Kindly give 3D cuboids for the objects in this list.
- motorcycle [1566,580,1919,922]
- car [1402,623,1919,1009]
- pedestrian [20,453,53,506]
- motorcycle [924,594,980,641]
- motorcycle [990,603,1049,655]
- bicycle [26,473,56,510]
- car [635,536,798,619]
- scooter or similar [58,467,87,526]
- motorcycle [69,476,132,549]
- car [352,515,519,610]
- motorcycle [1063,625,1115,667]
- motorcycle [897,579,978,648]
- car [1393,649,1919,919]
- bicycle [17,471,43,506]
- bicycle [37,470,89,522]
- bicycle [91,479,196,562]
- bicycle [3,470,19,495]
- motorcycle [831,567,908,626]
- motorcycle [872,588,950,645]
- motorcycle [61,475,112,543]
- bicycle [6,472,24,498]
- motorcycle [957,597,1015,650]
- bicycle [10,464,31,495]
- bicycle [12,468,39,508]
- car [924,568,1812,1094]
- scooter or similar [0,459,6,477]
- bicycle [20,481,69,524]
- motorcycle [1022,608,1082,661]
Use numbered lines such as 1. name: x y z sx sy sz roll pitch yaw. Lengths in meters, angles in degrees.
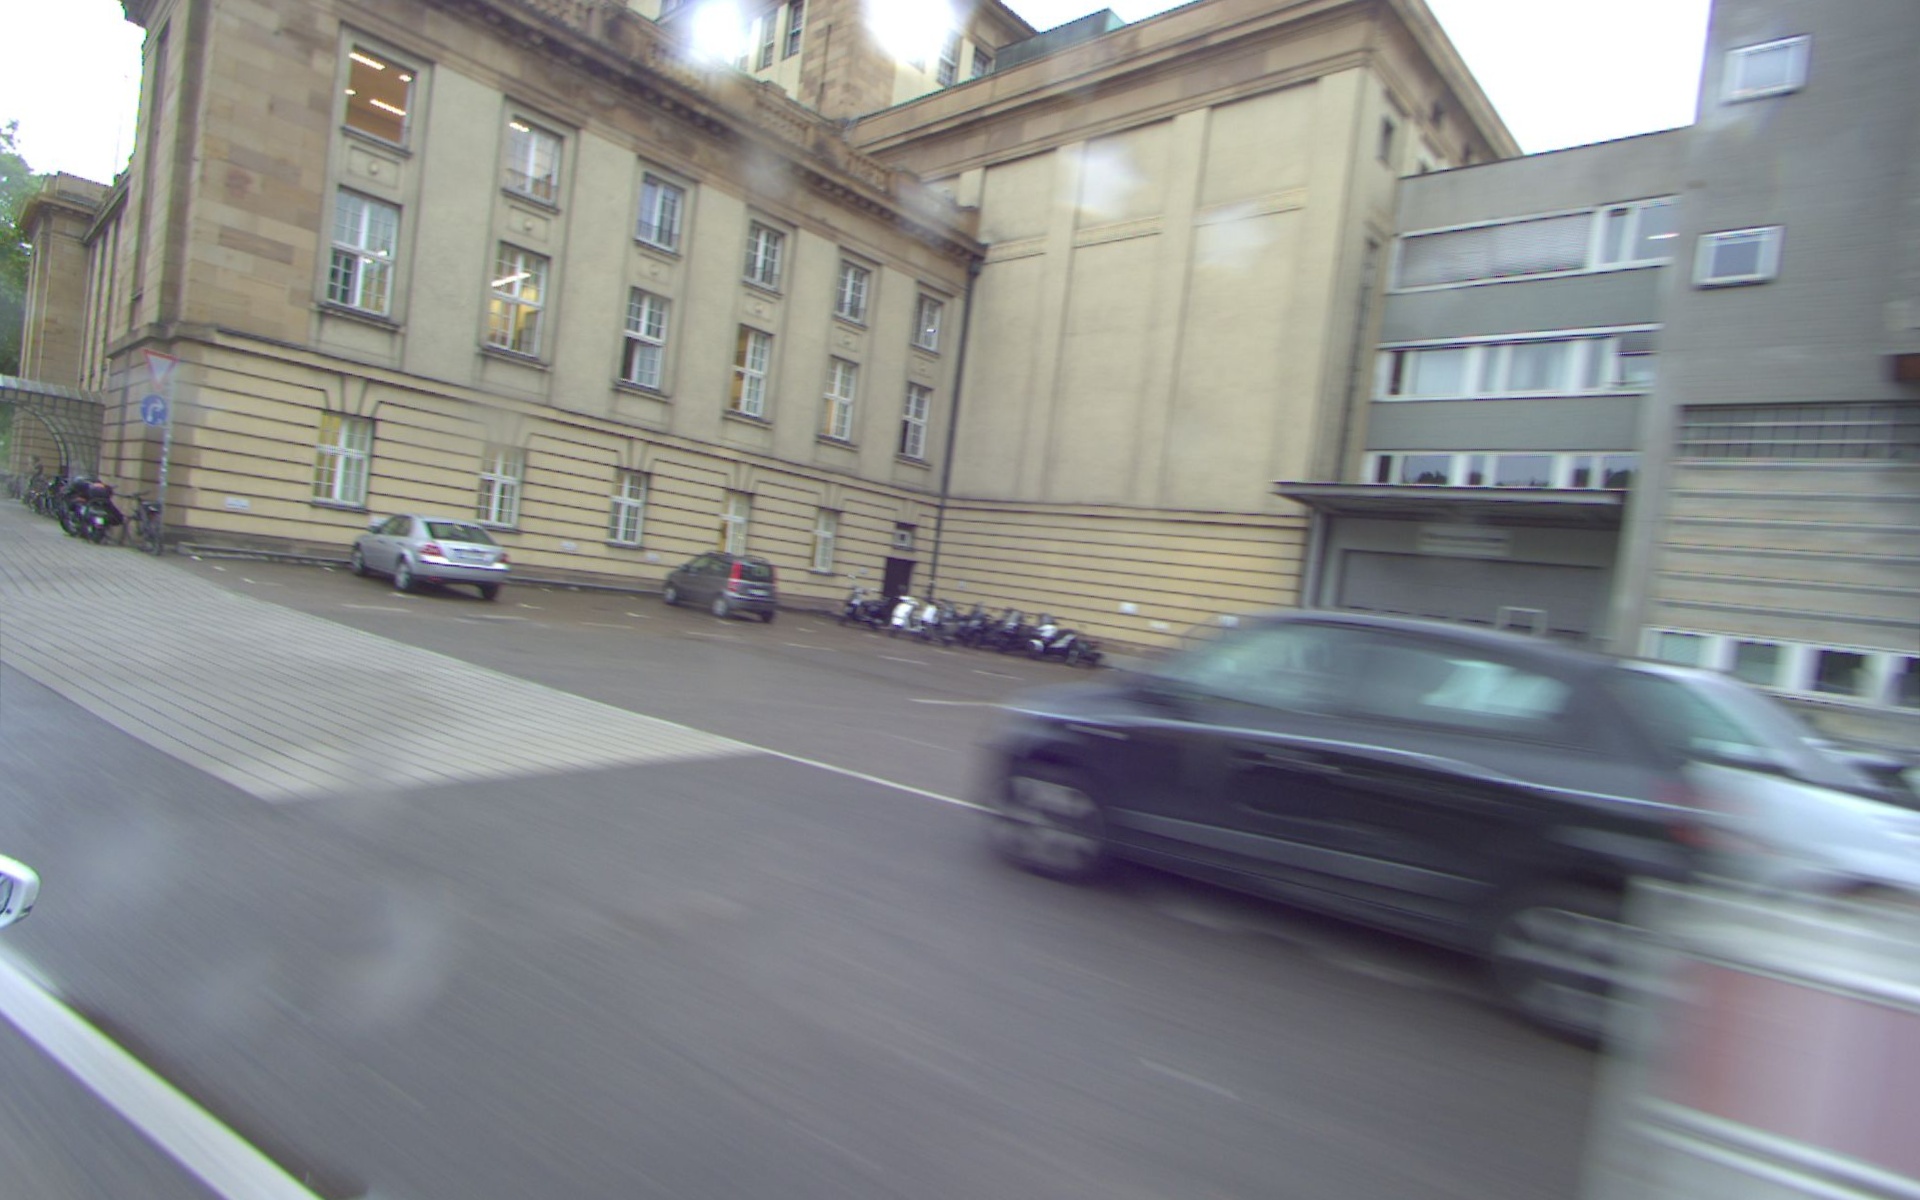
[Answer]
1. motorcycle: 5.733 0.964 6.770 2.554 1.929 0.747 8 3 42
2. car: 4.471 1.110 5.852 2.982 1.557 1.576 7 2 45
3. pedestrian: -33.449 -4.364 36.433 0.633 1.802 0.792 8 5 42
4. motorcycle: -0.254 0.572 32.831 1.655 1.356 0.726 5 2 -44
5. motorcycle: 1.829 0.904 30.645 1.655 1.425 0.726 5 2 -44
6. bicycle: -29.010 -3.443 31.740 0.582 1.051 1.736 6 1 -44
7. car: -6.298 -0.620 25.701 4.446 1.560 1.814 9 3 43
8. scooter or similar: -22.916 -2.665 25.969 0.411 1.435 1.252 6 1 -43
9. motorcycle: -17.657 -1.808 20.656 0.804 1.315 1.776 7 1 -44
10. car: -10.439 -0.772 19.895 4.070 1.428 1.518 8 1 42
11. motorcycle: 3.774 1.356 29.399 1.655 1.083 0.474 5 2 -44
12. motorcycle: -0.592 0.365 26.927 0.838 1.564 1.967 10 2 43
13. car: 6.481 1.470 8.844 1.948 1.702 4.442 8 -4 -42
14. bicycle: -35.544 -4.277 38.422 1.667 1.230 0.463 8 1 41
15. bicycle: -25.537 -2.962 28.633 1.732 1.285 0.729 8 2 38
16. bicycle: -15.508 -1.510 19.104 1.831 1.333 1.101 8 1 39
17. bicycle: -43.606 -5.418 46.219 1.764 1.094 0.351 7 3 42
18. motorcycle: -2.589 -0.098 28.963 0.875 1.492 1.966 8 2 43
19. motorcycle: -1.334 0.474 27.670 0.838 1.210 1.970 9 -2 43
20. motorcycle: -19.244 -2.026 22.144 0.665 1.342 2.108 6 1 -44
21. bicycle: -42.432 -5.160 45.167 1.764 1.093 0.351 8 0 42
22. motorcycle: 0.831 0.731 31.461 1.655 1.492 0.726 5 2 -44
23. bicycle: -42.790 -5.495 45.807 1.577 1.266 0.453 8 0 41
24. bicycle: -38.645 -4.640 41.613 1.576 1.534 0.453 9 0 39
25. car: 1.810 0.816 5.126 3.564 1.513 1.687 7 0 35
26. scooter or similar: -72.705 -10.026 75.715 1.410 1.272 0.543 8 3 11
27. bicycle: -27.071 -2.887 29.747 1.714 1.064 0.712 8 1 38
28. motorcycle: 2.733 1.031 29.777 1.655 1.385 0.726 5 2 -44
